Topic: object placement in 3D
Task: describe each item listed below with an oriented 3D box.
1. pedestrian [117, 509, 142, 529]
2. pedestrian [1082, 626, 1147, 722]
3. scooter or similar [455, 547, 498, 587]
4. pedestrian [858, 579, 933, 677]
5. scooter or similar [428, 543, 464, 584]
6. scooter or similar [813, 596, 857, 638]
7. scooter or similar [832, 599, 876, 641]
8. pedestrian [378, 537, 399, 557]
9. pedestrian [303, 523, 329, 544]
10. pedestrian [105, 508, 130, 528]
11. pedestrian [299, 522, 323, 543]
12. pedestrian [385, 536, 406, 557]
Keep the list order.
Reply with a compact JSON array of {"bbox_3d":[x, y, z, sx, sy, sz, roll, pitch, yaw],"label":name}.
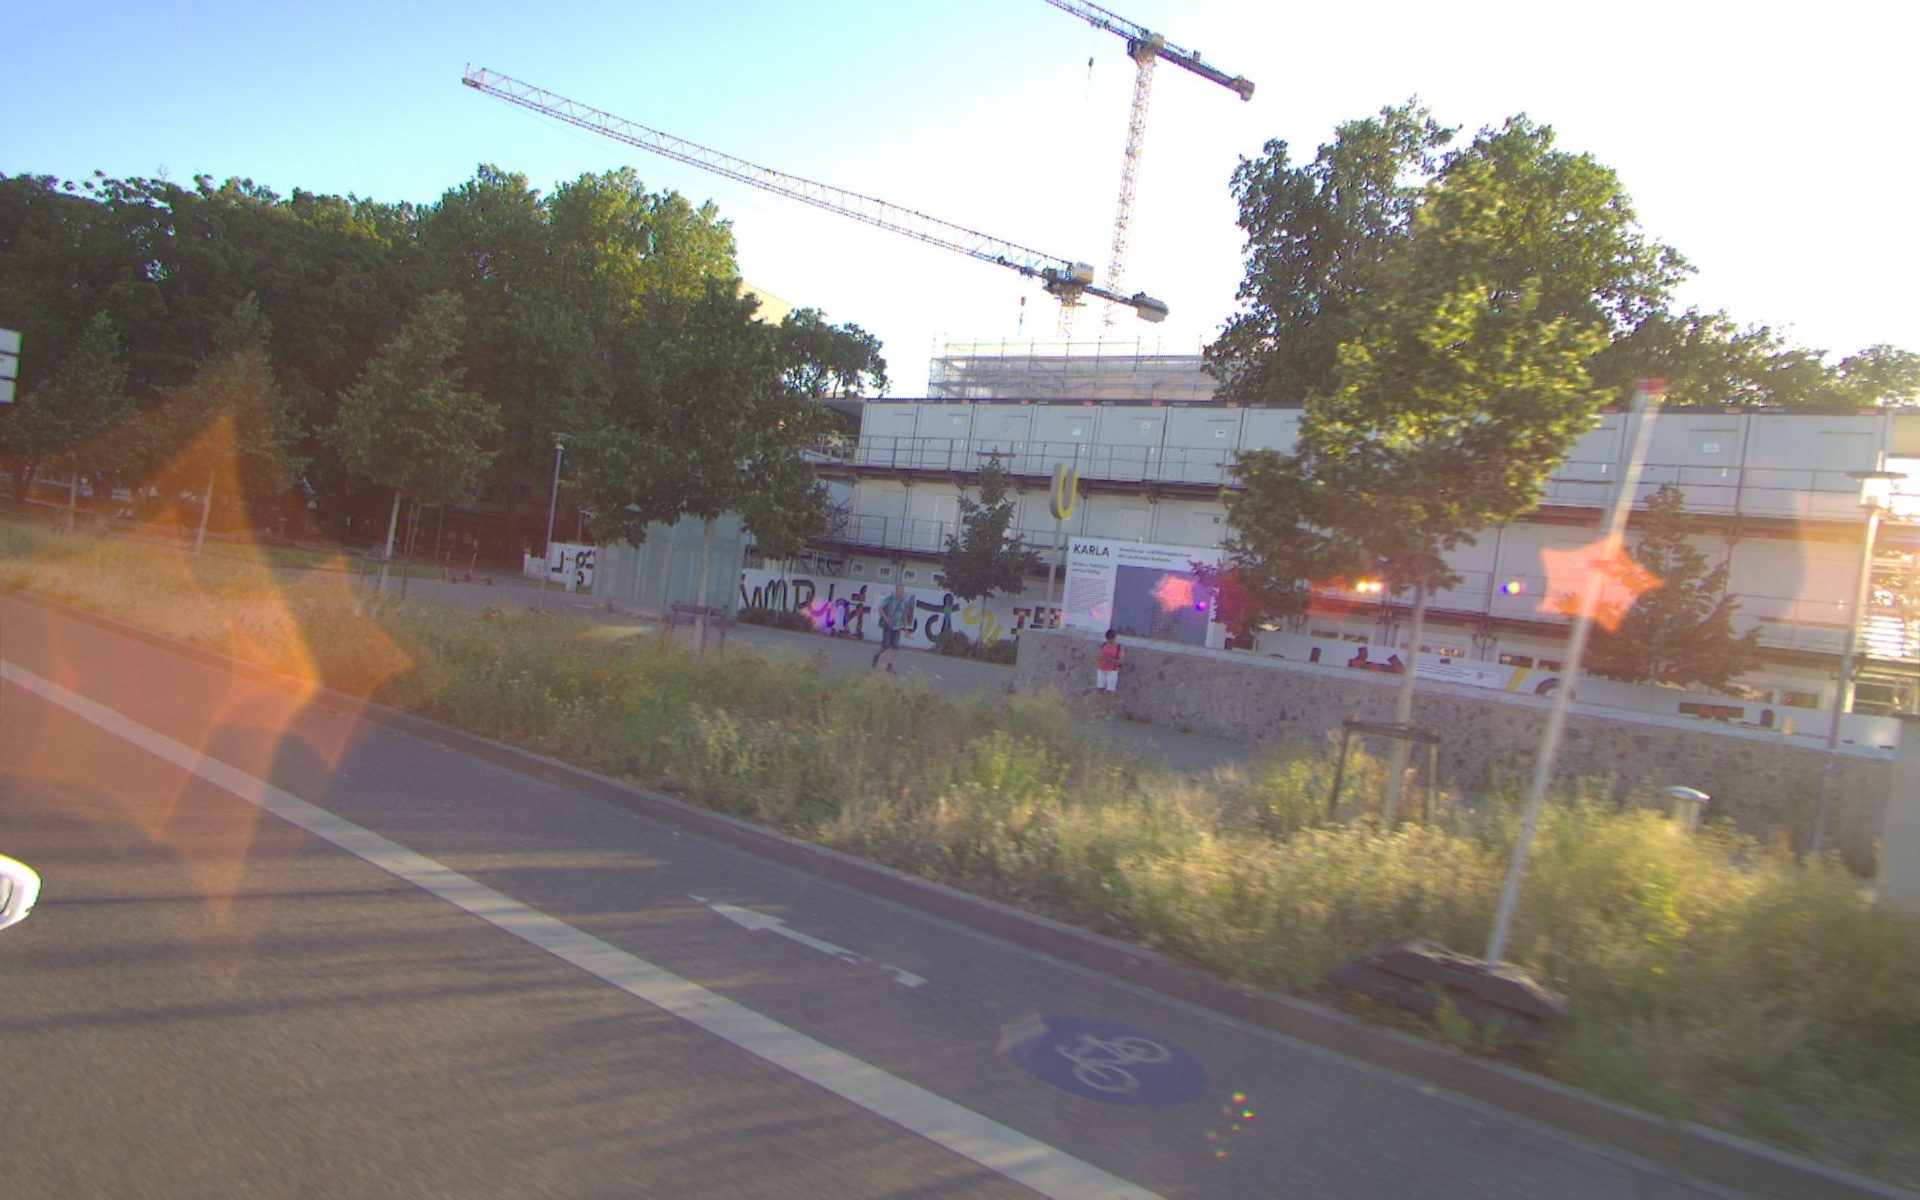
[{"bbox_3d":[-43.088,-4.188,52.199,0.611,0.895,0.681,7,1,11],"label":"pedestrian"},{"bbox_3d":[2.636,1.249,17.126,0.633,1.509,0.761,10,2,31],"label":"pedestrian"},{"bbox_3d":[-17.114,-1.170,35.623,1.547,1.237,0.473,7,4,27],"label":"scooter or similar"},{"bbox_3d":[-1.322,0.568,20.633,1.031,1.838,0.814,9,2,39],"label":"pedestrian"},{"bbox_3d":[-17.679,-1.259,34.599,1.376,1.237,0.423,8,4,34],"label":"scooter or similar"},{"bbox_3d":[-4.210,0.597,33.908,0.467,1.235,1.572,7,-1,31],"label":"scooter or similar"},{"bbox_3d":[-3.508,0.674,33.522,0.467,1.235,1.572,7,-1,31],"label":"scooter or similar"},{"bbox_3d":[-36.752,-3.407,64.722,0.753,1.178,0.787,7,1,28],"label":"pedestrian"},{"bbox_3d":[-44.692,-4.636,69.820,0.891,1.276,1.131,8,1,36],"label":"pedestrian"},{"bbox_3d":[-43.748,-4.273,52.246,0.582,0.895,0.681,7,1,9],"label":"pedestrian"},{"bbox_3d":[-45.408,-4.739,70.422,0.714,1.276,1.131,8,1,36],"label":"pedestrian"},{"bbox_3d":[-36.040,-3.428,64.265,0.753,1.178,0.787,7,1,28],"label":"pedestrian"}]
